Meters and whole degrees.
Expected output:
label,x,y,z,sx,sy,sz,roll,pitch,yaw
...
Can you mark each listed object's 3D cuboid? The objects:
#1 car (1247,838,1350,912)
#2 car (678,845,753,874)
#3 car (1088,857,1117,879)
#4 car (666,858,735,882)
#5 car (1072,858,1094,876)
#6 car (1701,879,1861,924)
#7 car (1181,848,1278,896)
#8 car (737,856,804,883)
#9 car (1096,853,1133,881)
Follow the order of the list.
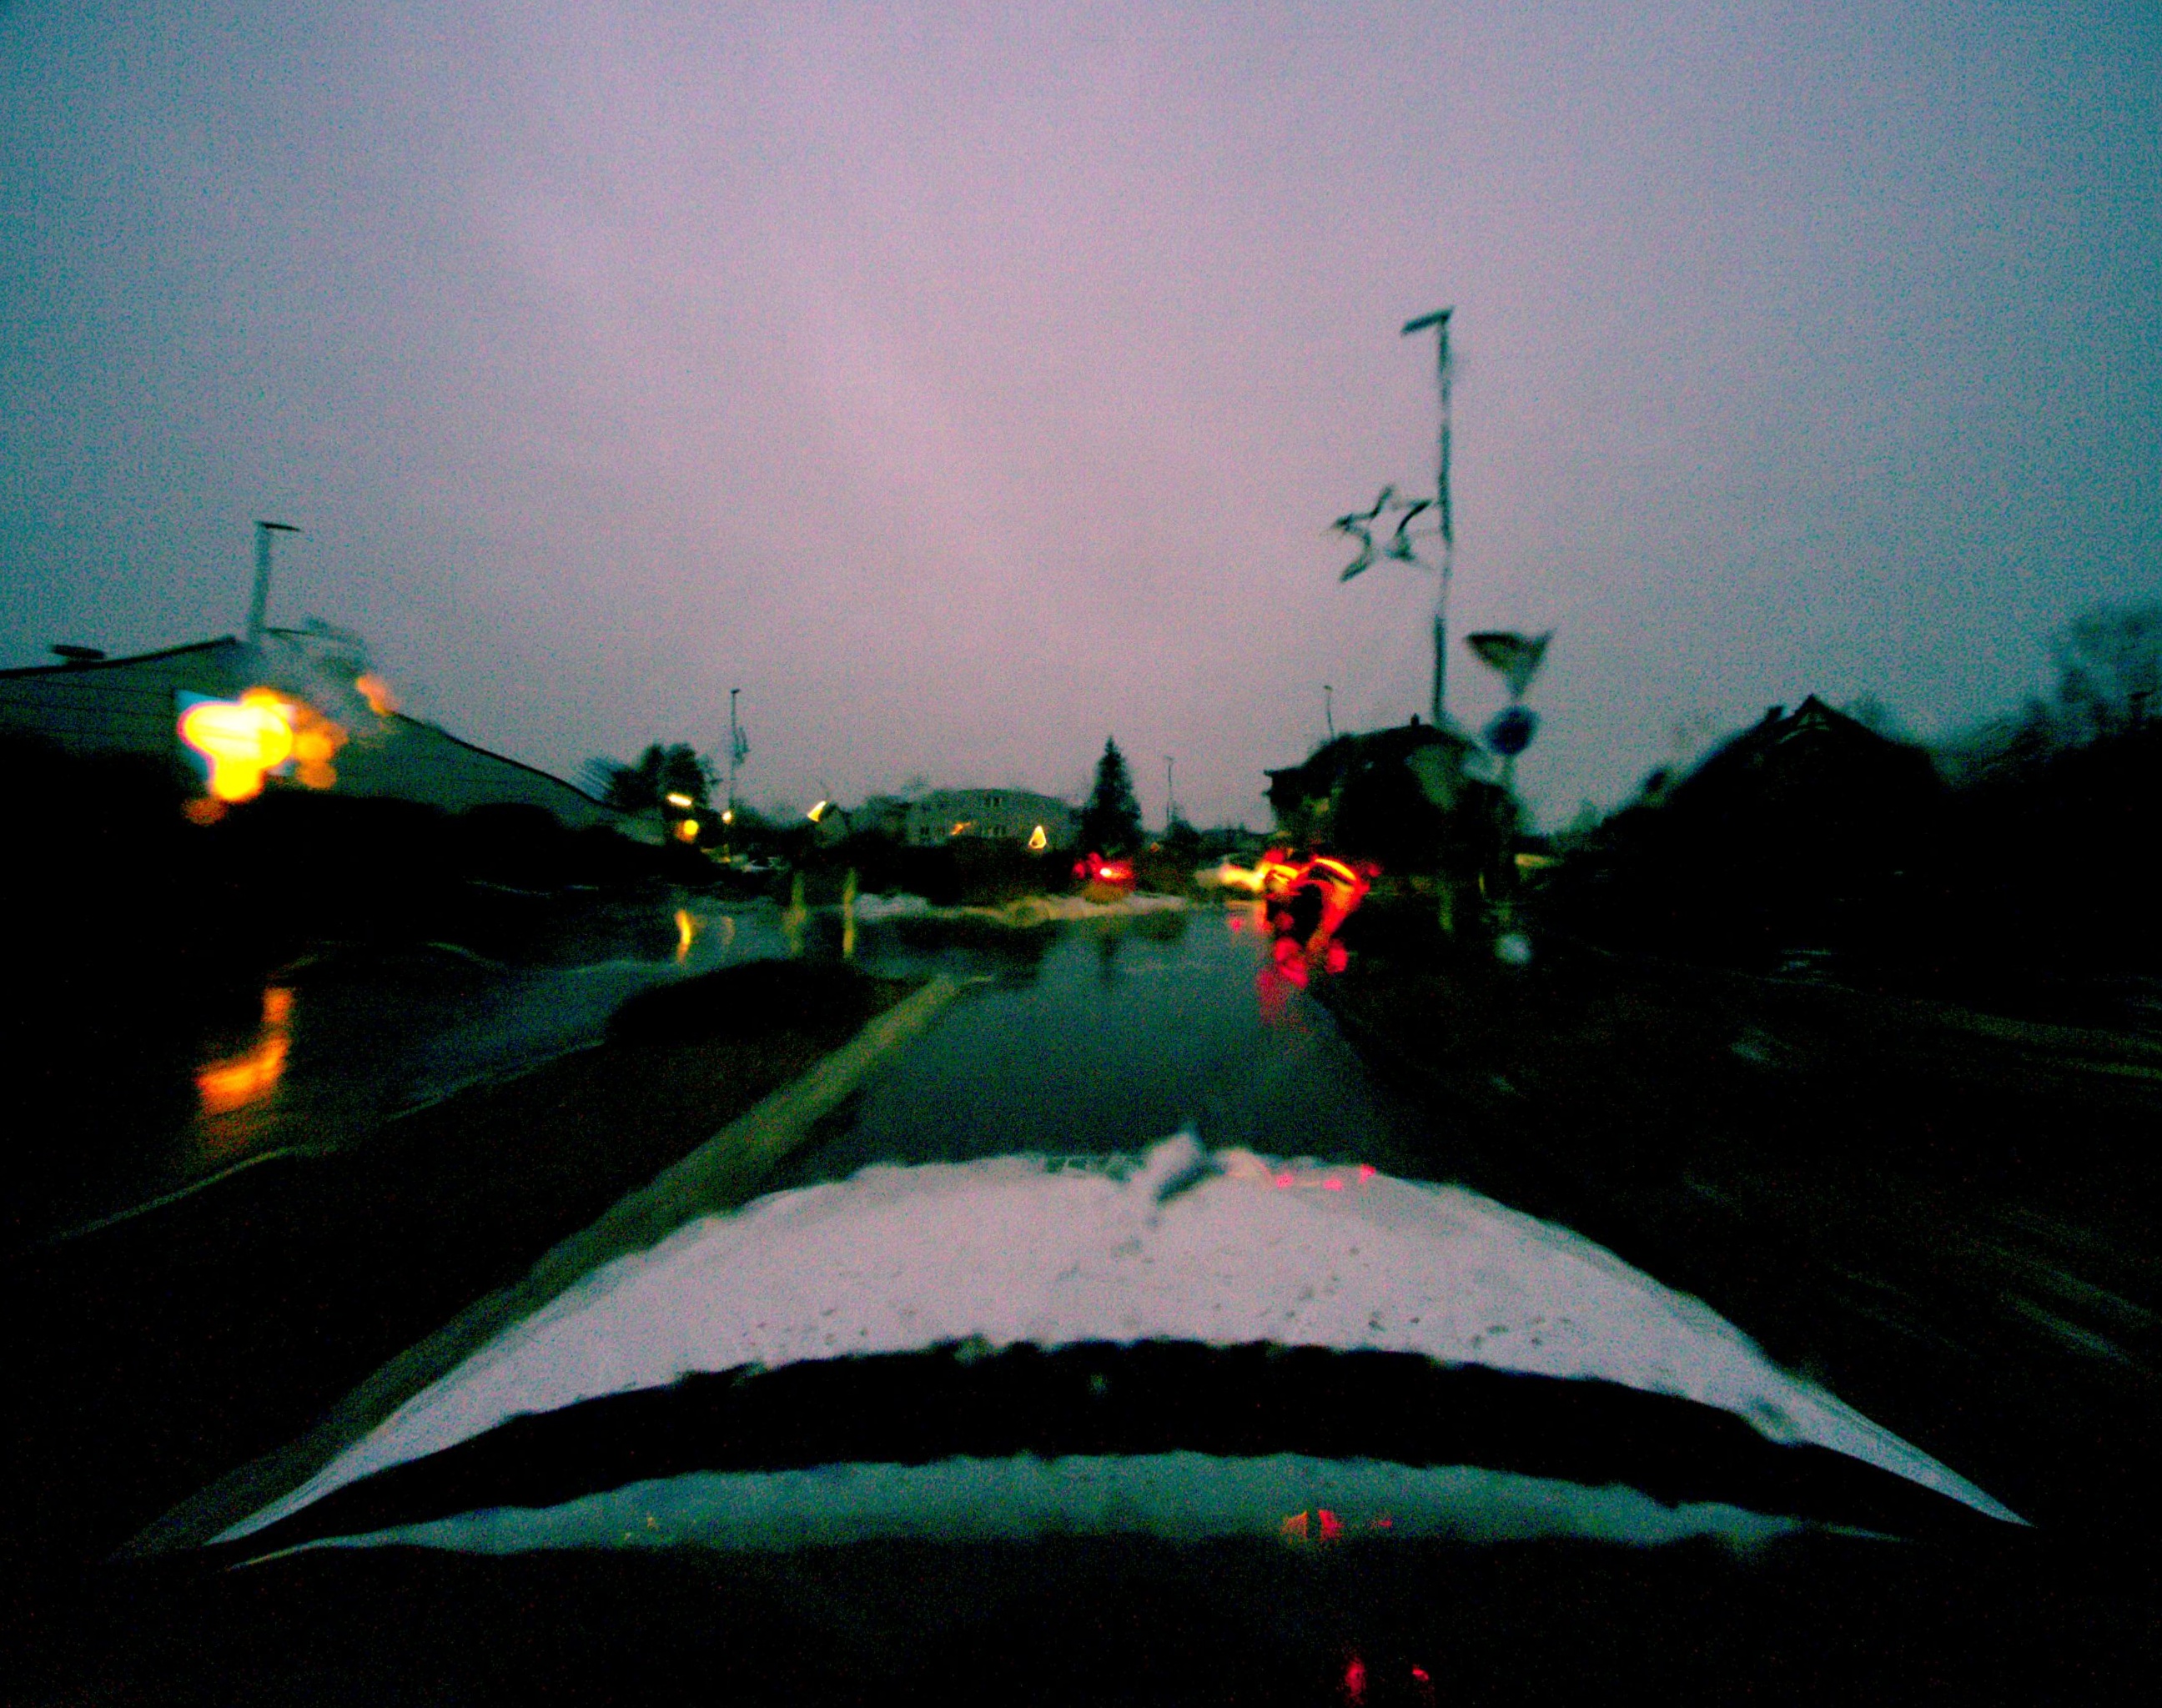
label,x,y,z,sx,sy,sz,roll,pitch,yaw
car,5.521,0.499,21.140,1.935,1.718,4.006,1,0,5
car,-29.992,0.474,67.027,2.008,2.134,5.454,1,-2,28
car,1.556,1.052,59.837,1.877,1.548,4.567,0,-2,-2
car,-23.066,0.970,49.323,3.949,1.311,1.853,1,-2,31
car,0.133,1.155,72.431,1.769,1.544,3.995,-1,-1,-3
car,32.682,2.151,38.194,2.378,1.865,5.272,0,-1,-36
car,5.730,0.655,32.095,2.166,1.689,4.551,0,1,-13
car,-20.146,0.999,52.850,4.226,1.561,2.077,1,-2,37
car,2.005,0.823,49.934,1.877,1.615,4.567,0,-2,-2
